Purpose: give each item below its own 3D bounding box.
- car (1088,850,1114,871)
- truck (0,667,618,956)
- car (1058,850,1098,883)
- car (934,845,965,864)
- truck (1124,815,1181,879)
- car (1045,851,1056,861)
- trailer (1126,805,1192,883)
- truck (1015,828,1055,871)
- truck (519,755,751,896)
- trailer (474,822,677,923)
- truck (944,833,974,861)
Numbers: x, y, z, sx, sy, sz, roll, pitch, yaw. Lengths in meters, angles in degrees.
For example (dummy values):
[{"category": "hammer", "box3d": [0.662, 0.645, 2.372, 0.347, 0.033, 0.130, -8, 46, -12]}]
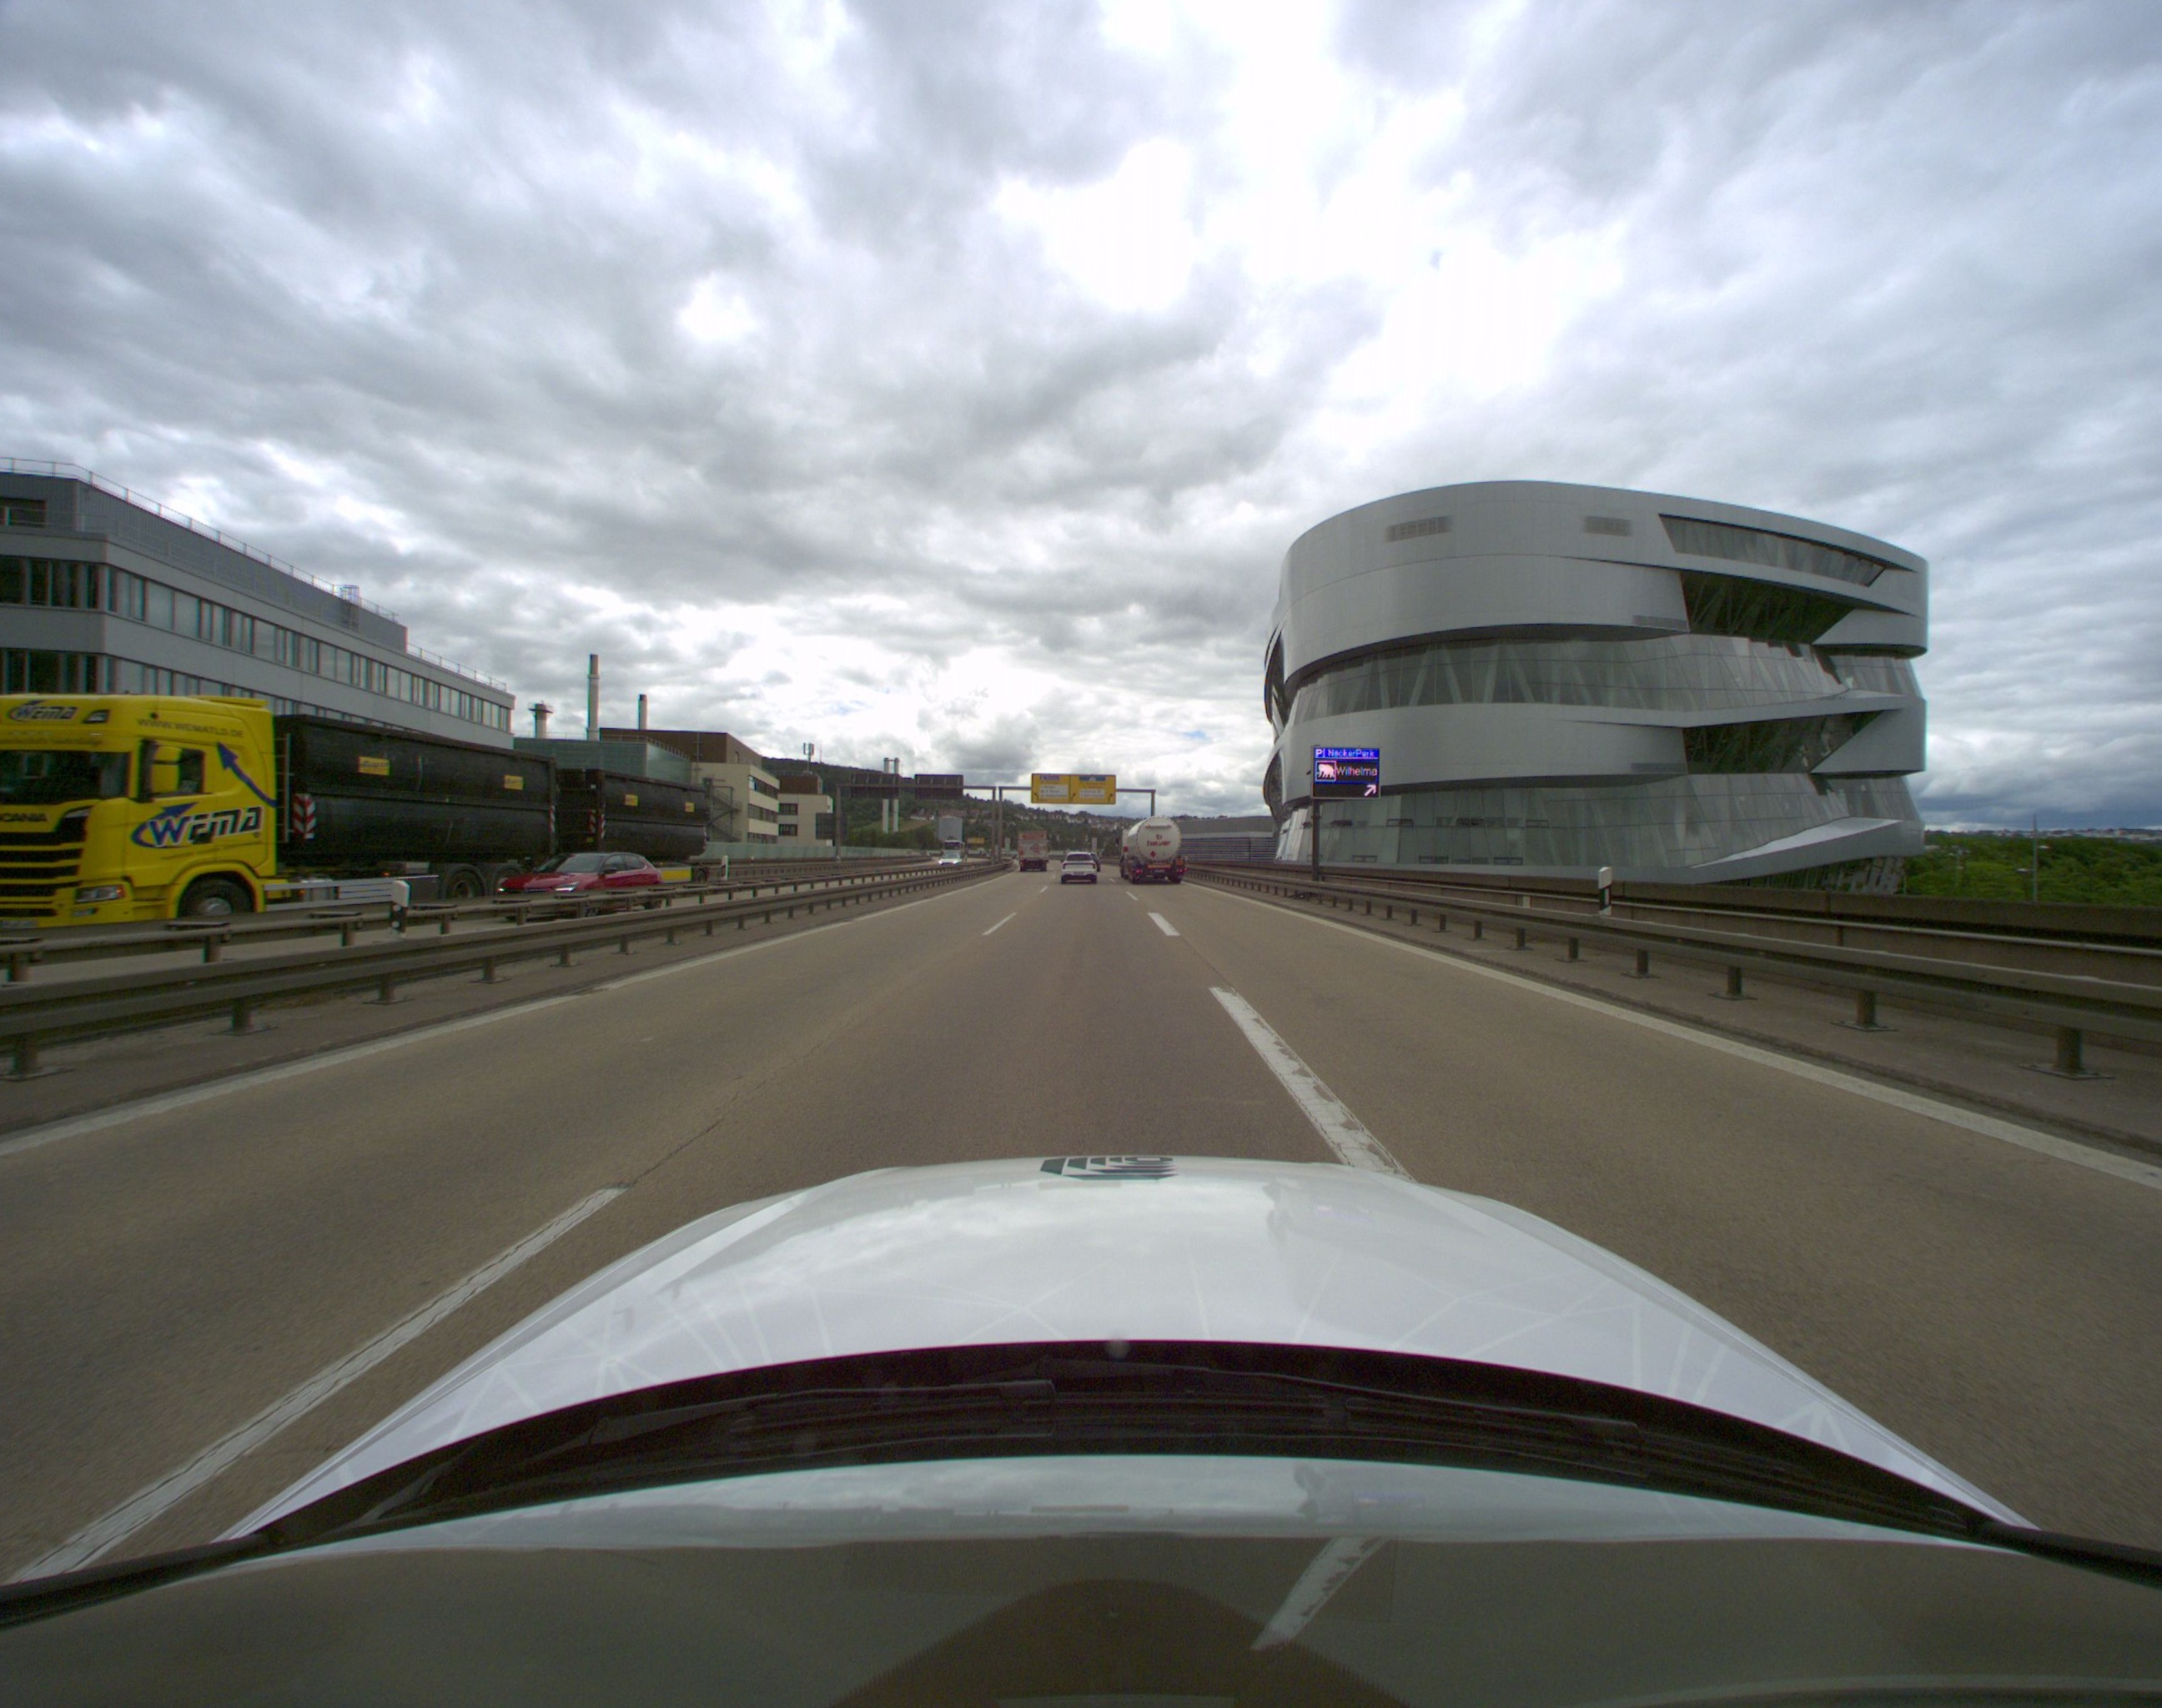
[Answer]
[{"category": "car", "box3d": [1.650, 0.568, 69.555, 1.988, 1.675, 4.405, 0, 0, -2]}, {"category": "truck", "box3d": [-14.966, -0.559, 17.406, 3.045, 4.065, 11.860, -1, 0, 2]}, {"category": "car", "box3d": [-0.100, 0.662, 43.686, 1.986, 1.675, 4.409, -1, 0, 1]}, {"category": "car", "box3d": [-11.381, 0.075, 70.571, 1.988, 1.606, 4.804, 0, 0, -2]}, {"category": "truck", "box3d": [4.203, -0.375, 49.354, 3.004, 3.657, 6.274, -1, -1, 1]}, {"category": "car", "box3d": [-5.422, 0.315, 144.311, 1.677, 1.650, 4.361, 1, 0, 1]}, {"category": "trailer", "box3d": [4.031, -0.469, 43.759, 3.045, 3.790, 8.308, -1, 0, 2]}, {"category": "truck", "box3d": [-4.125, -0.399, 74.651, 3.047, 3.691, 8.303, -1, 0, 0]}, {"category": "truck", "box3d": [-14.715, -0.793, 27.964, 3.046, 4.065, 8.664, -1, 0, 1]}, {"category": "trailer", "box3d": [-11.163, 0.361, 18.373, 1.986, 2.013, 4.001, -1, 0, 1]}, {"category": "truck", "box3d": [-17.509, -0.903, 117.298, 3.050, 3.776, 12.504, 0, 0, -3]}]
